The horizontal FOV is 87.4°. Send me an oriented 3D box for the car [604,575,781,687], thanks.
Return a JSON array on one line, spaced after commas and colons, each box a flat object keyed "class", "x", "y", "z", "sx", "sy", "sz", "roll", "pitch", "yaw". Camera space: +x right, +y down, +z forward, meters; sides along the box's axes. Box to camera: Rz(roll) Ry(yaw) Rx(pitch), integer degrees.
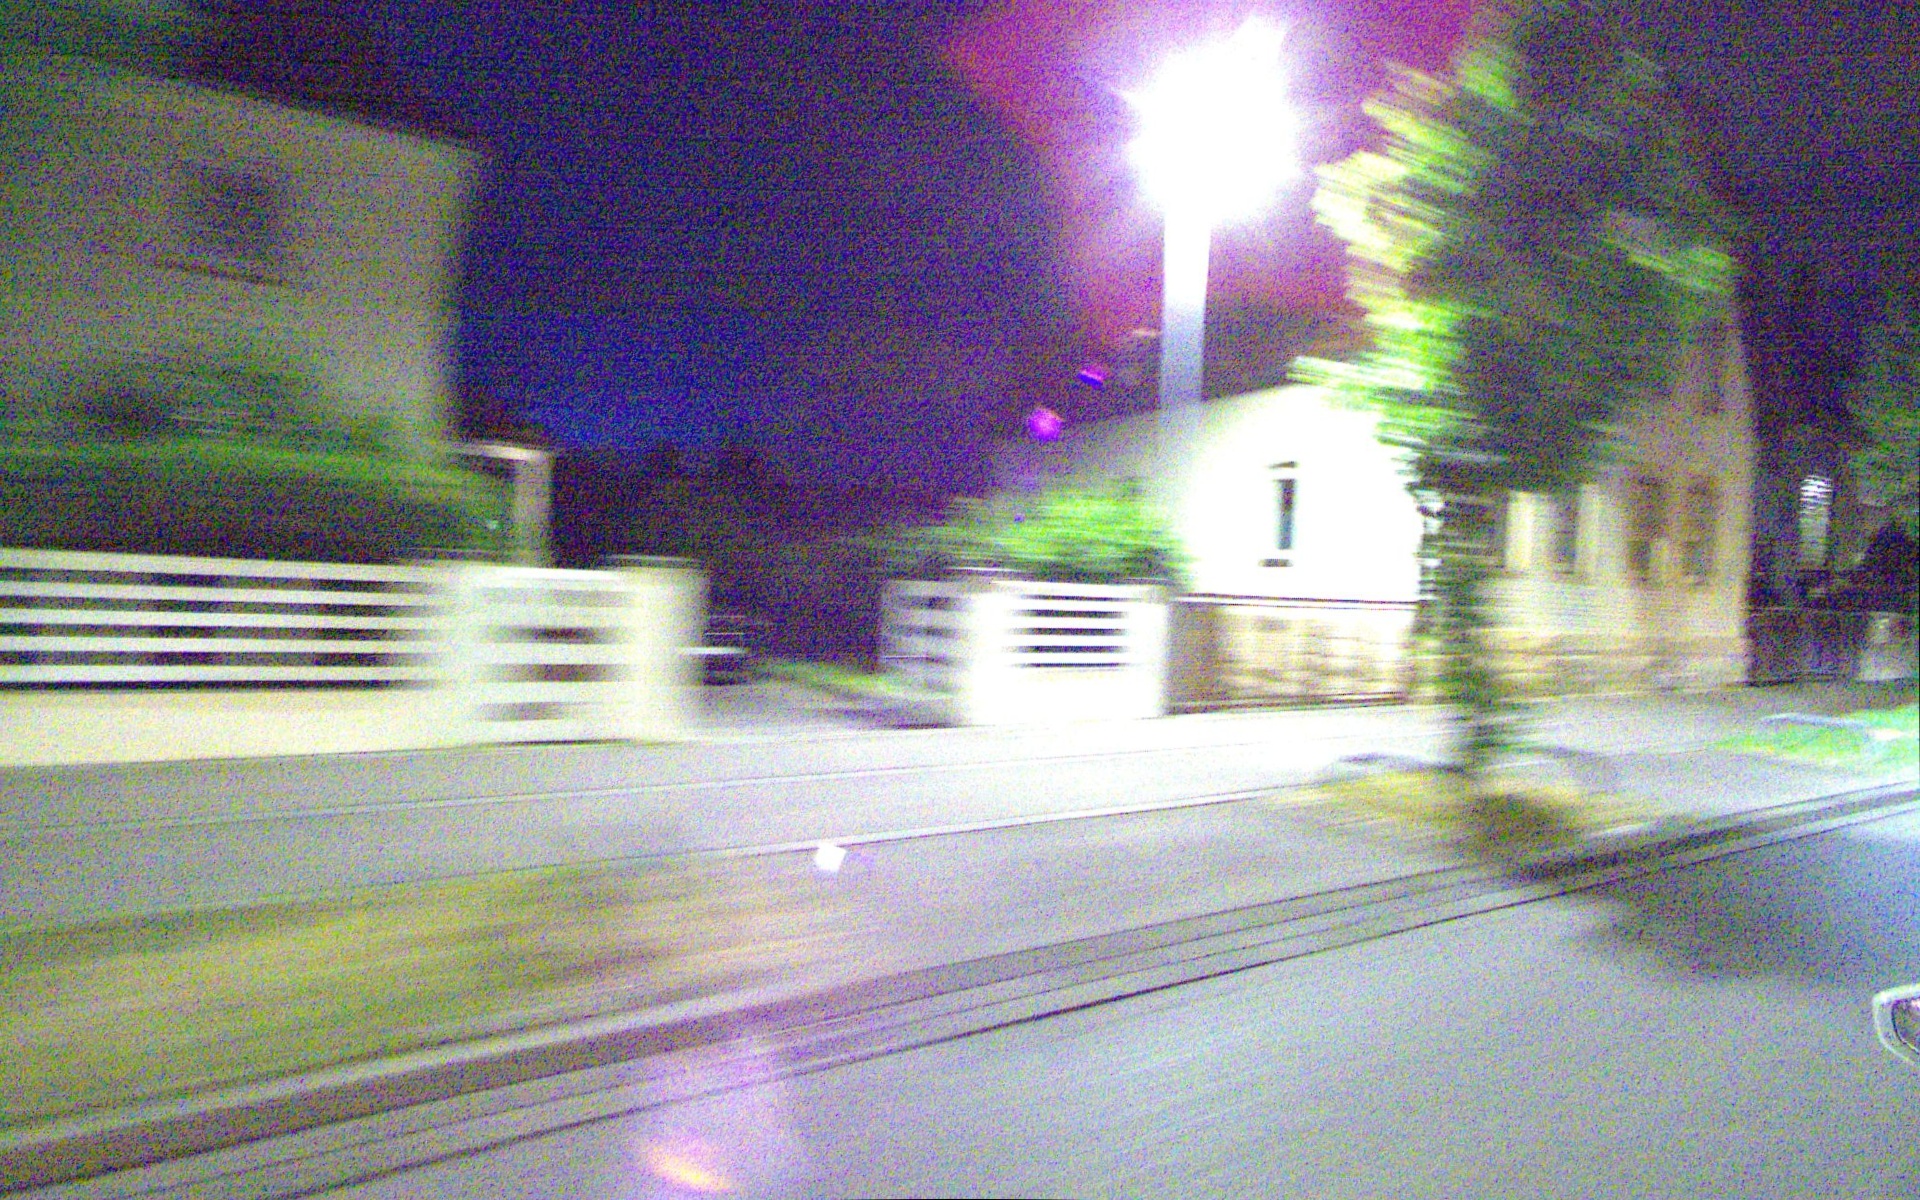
[{"class": "car", "x": -4.017, "y": 0.401, "z": 14.651, "sx": 1.562, "sy": 1.398, "sz": 3.901, "roll": 1, "pitch": 0, "yaw": -29}]
